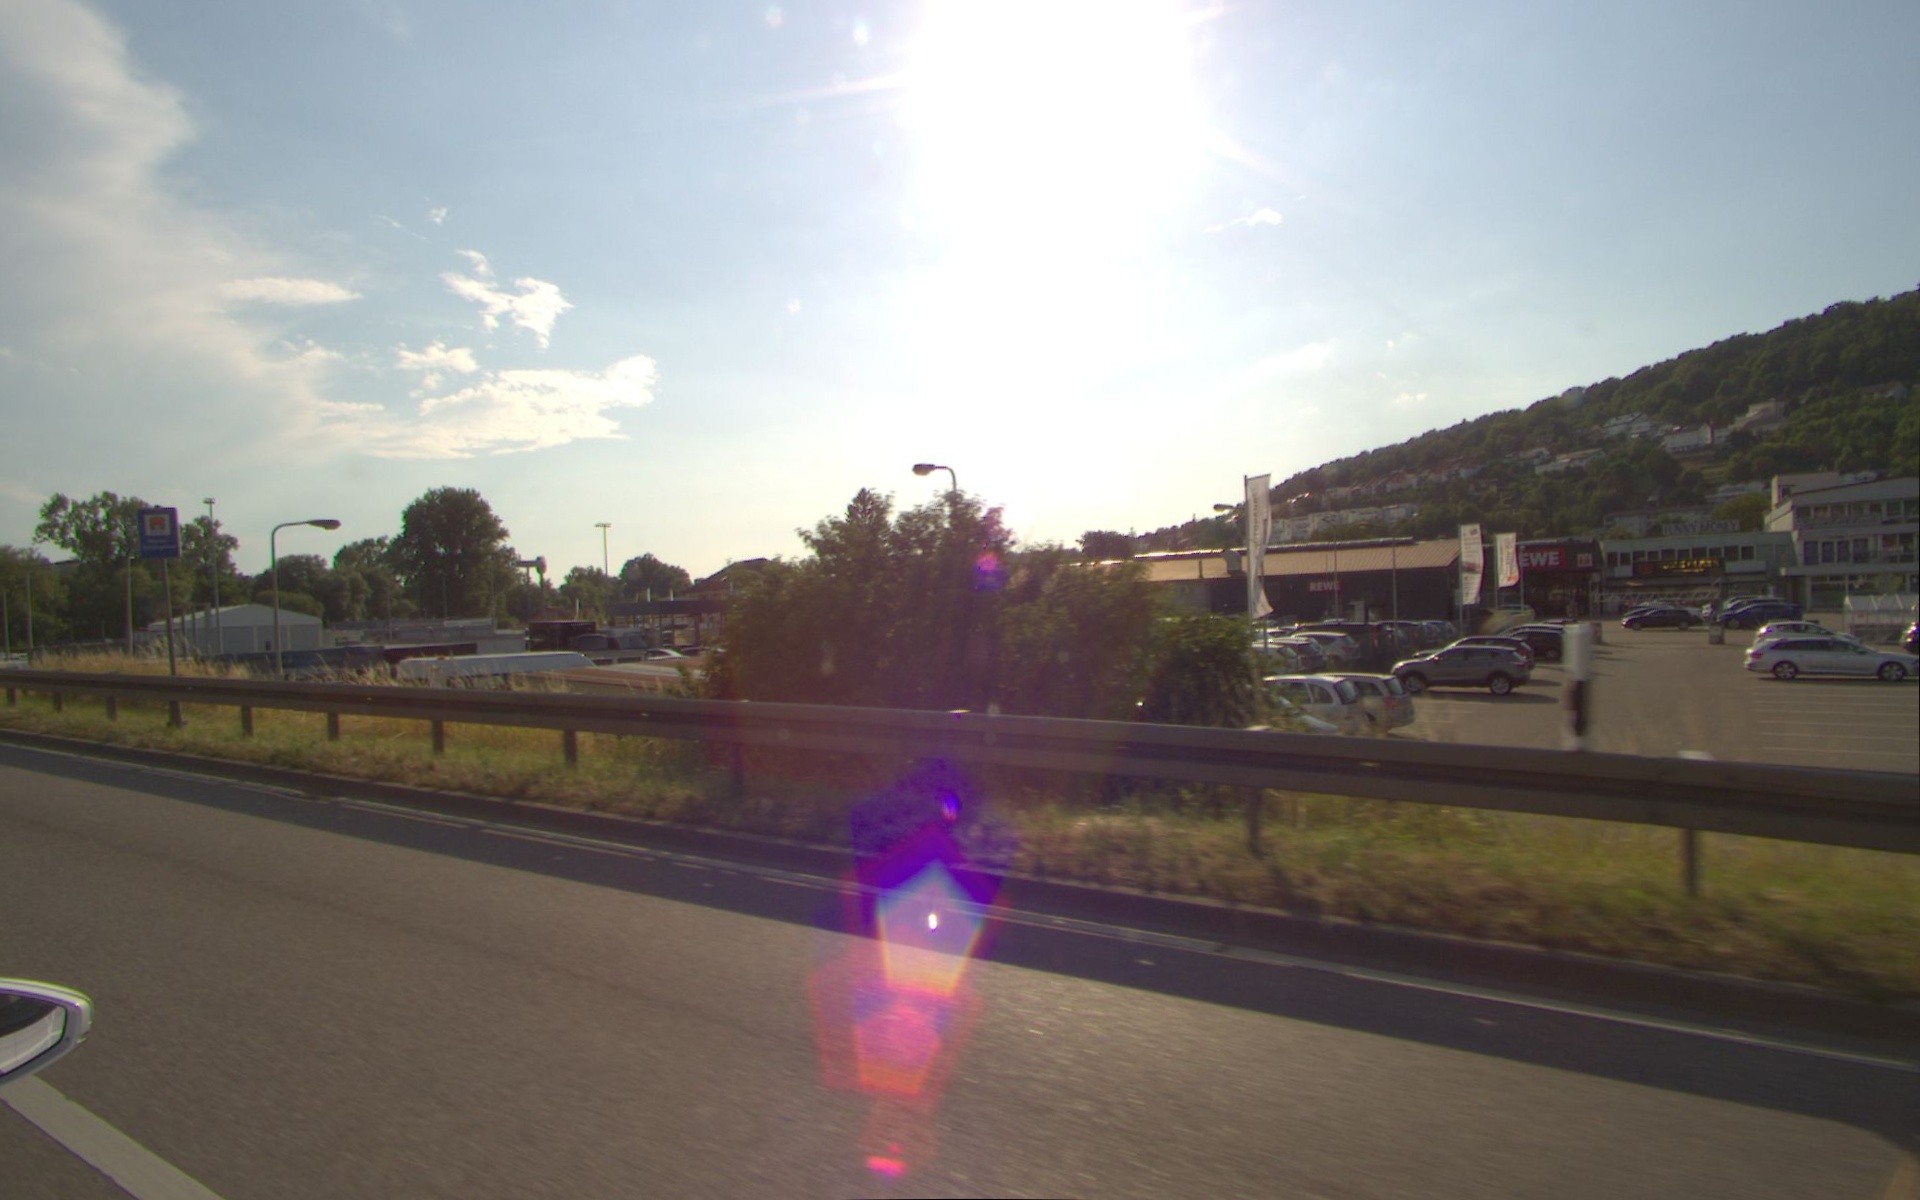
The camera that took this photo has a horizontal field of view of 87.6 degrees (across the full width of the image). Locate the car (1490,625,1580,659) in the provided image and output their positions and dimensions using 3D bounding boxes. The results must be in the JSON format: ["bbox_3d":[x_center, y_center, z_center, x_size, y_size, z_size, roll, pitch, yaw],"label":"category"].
[{"bbox_3d":[29.516,2.156,51.385,3.888,1.583,1.827,-2,0,34],"label":"car"}]

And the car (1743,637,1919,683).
[{"bbox_3d":[30.424,2.097,35.155,4.476,1.526,1.897,-2,-2,36],"label":"car"}]

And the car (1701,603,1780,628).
[{"bbox_3d":[55.804,1.106,71.697,4.279,1.583,1.828,-2,0,32],"label":"car"}]

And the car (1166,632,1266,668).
[{"bbox_3d":[11.385,2.224,44.608,3.949,1.527,1.720,-2,-2,36],"label":"car"}]

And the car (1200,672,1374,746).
[{"bbox_3d":[7.535,2.457,23.211,3.541,1.503,1.523,-3,-2,38],"label":"car"}]

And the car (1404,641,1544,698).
[{"bbox_3d":[17.356,2.309,33.831,4.071,1.725,1.828,-2,0,32],"label":"car"}]

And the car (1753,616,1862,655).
[{"bbox_3d":[39.985,1.703,47.350,3.707,1.772,1.794,-2,-2,34],"label":"car"}]

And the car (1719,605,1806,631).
[{"bbox_3d":[53.087,1.191,66.345,4.279,1.583,1.828,-2,0,32],"label":"car"}]

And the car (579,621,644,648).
[{"bbox_3d":[-21.895,2.179,62.853,4.293,1.563,1.788,-3,-3,38],"label":"car"}]

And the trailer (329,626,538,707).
[{"bbox_3d":[-23.950,2.926,45.935,3.317,3.364,7.853,-2,-2,37],"label":"trailer"}]

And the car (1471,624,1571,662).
[{"bbox_3d":[27.515,2.120,49.171,4.078,1.725,1.825,-2,0,37],"label":"car"}]

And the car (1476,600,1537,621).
[{"bbox_3d":[47.089,0.915,86.365,4.520,1.609,1.828,-2,0,32],"label":"car"}]

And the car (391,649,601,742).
[{"bbox_3d":[-10.428,2.071,22.740,1.810,1.839,3.977,-2,-2,34],"label":"car"}]

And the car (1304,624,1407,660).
[{"bbox_3d":[17.507,1.862,44.394,3.949,1.527,1.720,-2,-2,36],"label":"car"}]

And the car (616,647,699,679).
[{"bbox_3d":[-15.600,3.241,51.694,3.703,1.590,1.682,-1,-2,8],"label":"car"}]

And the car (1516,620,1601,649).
[{"bbox_3d":[32.879,1.917,55.063,3.944,1.527,1.722,-1,-2,33],"label":"car"}]

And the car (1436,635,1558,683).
[{"bbox_3d":[20.899,2.285,39.001,4.071,1.725,1.828,-2,0,32],"label":"car"}]

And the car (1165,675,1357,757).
[{"bbox_3d":[6.244,2.354,20.917,3.539,1.503,1.524,-2,-2,36],"label":"car"}]

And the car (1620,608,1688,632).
[{"bbox_3d":[48.277,1.397,69.717,3.855,1.583,1.826,-2,0,36],"label":"car"}]

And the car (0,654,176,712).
[{"bbox_3d":[-35.074,3.245,39.785,1.974,2.039,5.865,-2,-2,35],"label":"car"}]

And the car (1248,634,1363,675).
[{"bbox_3d":[13.459,2.135,39.094,3.945,1.527,1.722,-2,-2,33],"label":"car"}]

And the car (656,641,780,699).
[{"bbox_3d":[-8.879,2.509,36.547,4.767,1.976,1.750,-3,-2,37],"label":"car"}]

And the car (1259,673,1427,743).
[{"bbox_3d":[9.346,2.592,24.539,3.541,1.503,1.523,-3,-2,38],"label":"car"}]

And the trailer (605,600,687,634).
[{"bbox_3d":[-20.461,1.132,65.066,6.208,2.048,1.986,-3,-2,39],"label":"trailer"}]

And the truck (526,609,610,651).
[{"bbox_3d":[-23.837,1.840,60.794,5.894,2.400,1.987,-3,-2,37],"label":"truck"}]

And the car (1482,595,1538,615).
[{"bbox_3d":[48.687,0.413,88.683,4.279,1.583,1.828,-2,0,32],"label":"car"}]

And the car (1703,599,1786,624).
[{"bbox_3d":[54.065,0.813,69.118,4.279,1.583,1.828,-2,0,32],"label":"car"}]
